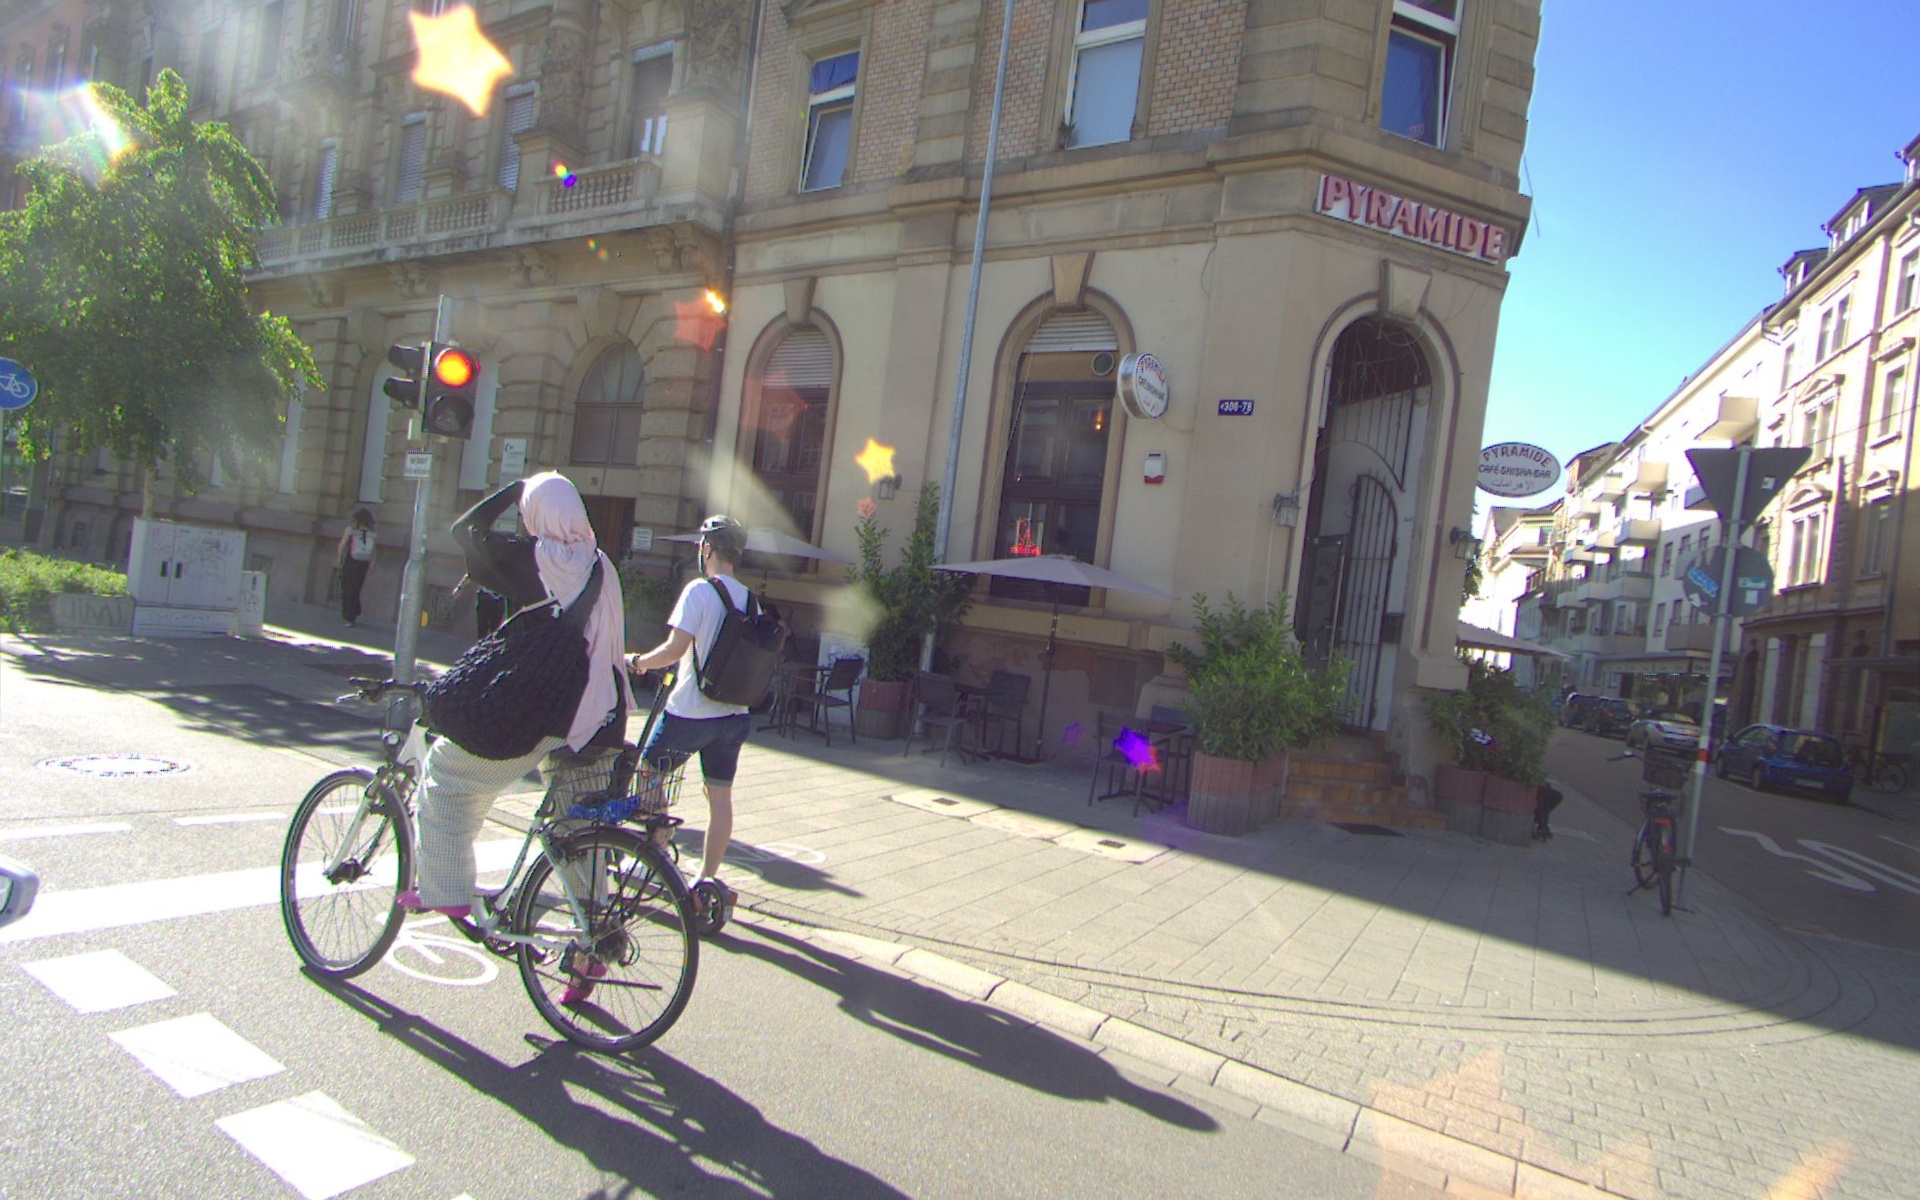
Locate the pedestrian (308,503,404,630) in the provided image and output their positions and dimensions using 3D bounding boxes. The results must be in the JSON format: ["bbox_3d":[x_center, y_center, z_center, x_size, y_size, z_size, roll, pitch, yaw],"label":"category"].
[{"bbox_3d":[-9.918,-0.546,16.515,1.081,1.945,0.889,7,2,37],"label":"pedestrian"}]

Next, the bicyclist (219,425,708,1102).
[{"bbox_3d":[-1.615,0.445,3.336,1.071,1.839,0.726,7,-1,23],"label":"bicyclist"}]

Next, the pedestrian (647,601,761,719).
[{"bbox_3d":[-2.872,0.671,11.303,0.867,1.197,0.718,6,0,31],"label":"pedestrian"}]

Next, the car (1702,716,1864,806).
[{"bbox_3d":[18.389,3.533,22.688,1.587,1.428,3.703,7,-1,21],"label":"car"}]

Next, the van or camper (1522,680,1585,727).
[{"bbox_3d":[30.242,5.231,51.414,1.850,1.867,4.545,9,1,22],"label":"van or camper"}]

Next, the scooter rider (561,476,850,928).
[{"bbox_3d":[-1.194,0.438,4.777,0.882,1.888,0.663,7,-1,27],"label":"scooter rider"}]

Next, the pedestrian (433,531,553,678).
[{"bbox_3d":[-5.936,0.054,12.772,0.966,1.714,1.100,4,2,-44],"label":"pedestrian"}]

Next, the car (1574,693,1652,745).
[{"bbox_3d":[23.863,4.310,36.880,1.599,1.424,3.439,9,1,22],"label":"car"}]

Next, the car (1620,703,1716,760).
[{"bbox_3d":[21.462,3.959,30.606,1.600,1.337,3.389,7,-1,24],"label":"car"}]

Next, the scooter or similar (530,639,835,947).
[{"bbox_3d":[-1.318,0.856,4.806,1.130,1.172,0.647,7,-1,26],"label":"scooter or similar"}]

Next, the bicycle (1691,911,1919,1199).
[{"bbox_3d":[2.626,1.410,1.878,1.920,1.018,0.829,7,-1,32],"label":"bicycle"}]

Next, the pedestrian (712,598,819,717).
[{"bbox_3d":[-2.338,0.691,12.102,0.873,1.298,0.726,6,0,31],"label":"pedestrian"}]

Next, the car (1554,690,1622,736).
[{"bbox_3d":[25.890,4.634,41.564,1.599,1.424,3.439,9,1,22],"label":"car"}]

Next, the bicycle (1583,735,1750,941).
[{"bbox_3d":[5.774,1.821,8.177,0.804,1.247,2.211,11,2,38],"label":"bicycle"}]

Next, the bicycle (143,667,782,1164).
[{"bbox_3d":[-1.659,0.875,3.326,1.917,1.018,0.726,7,-1,24],"label":"bicycle"}]
